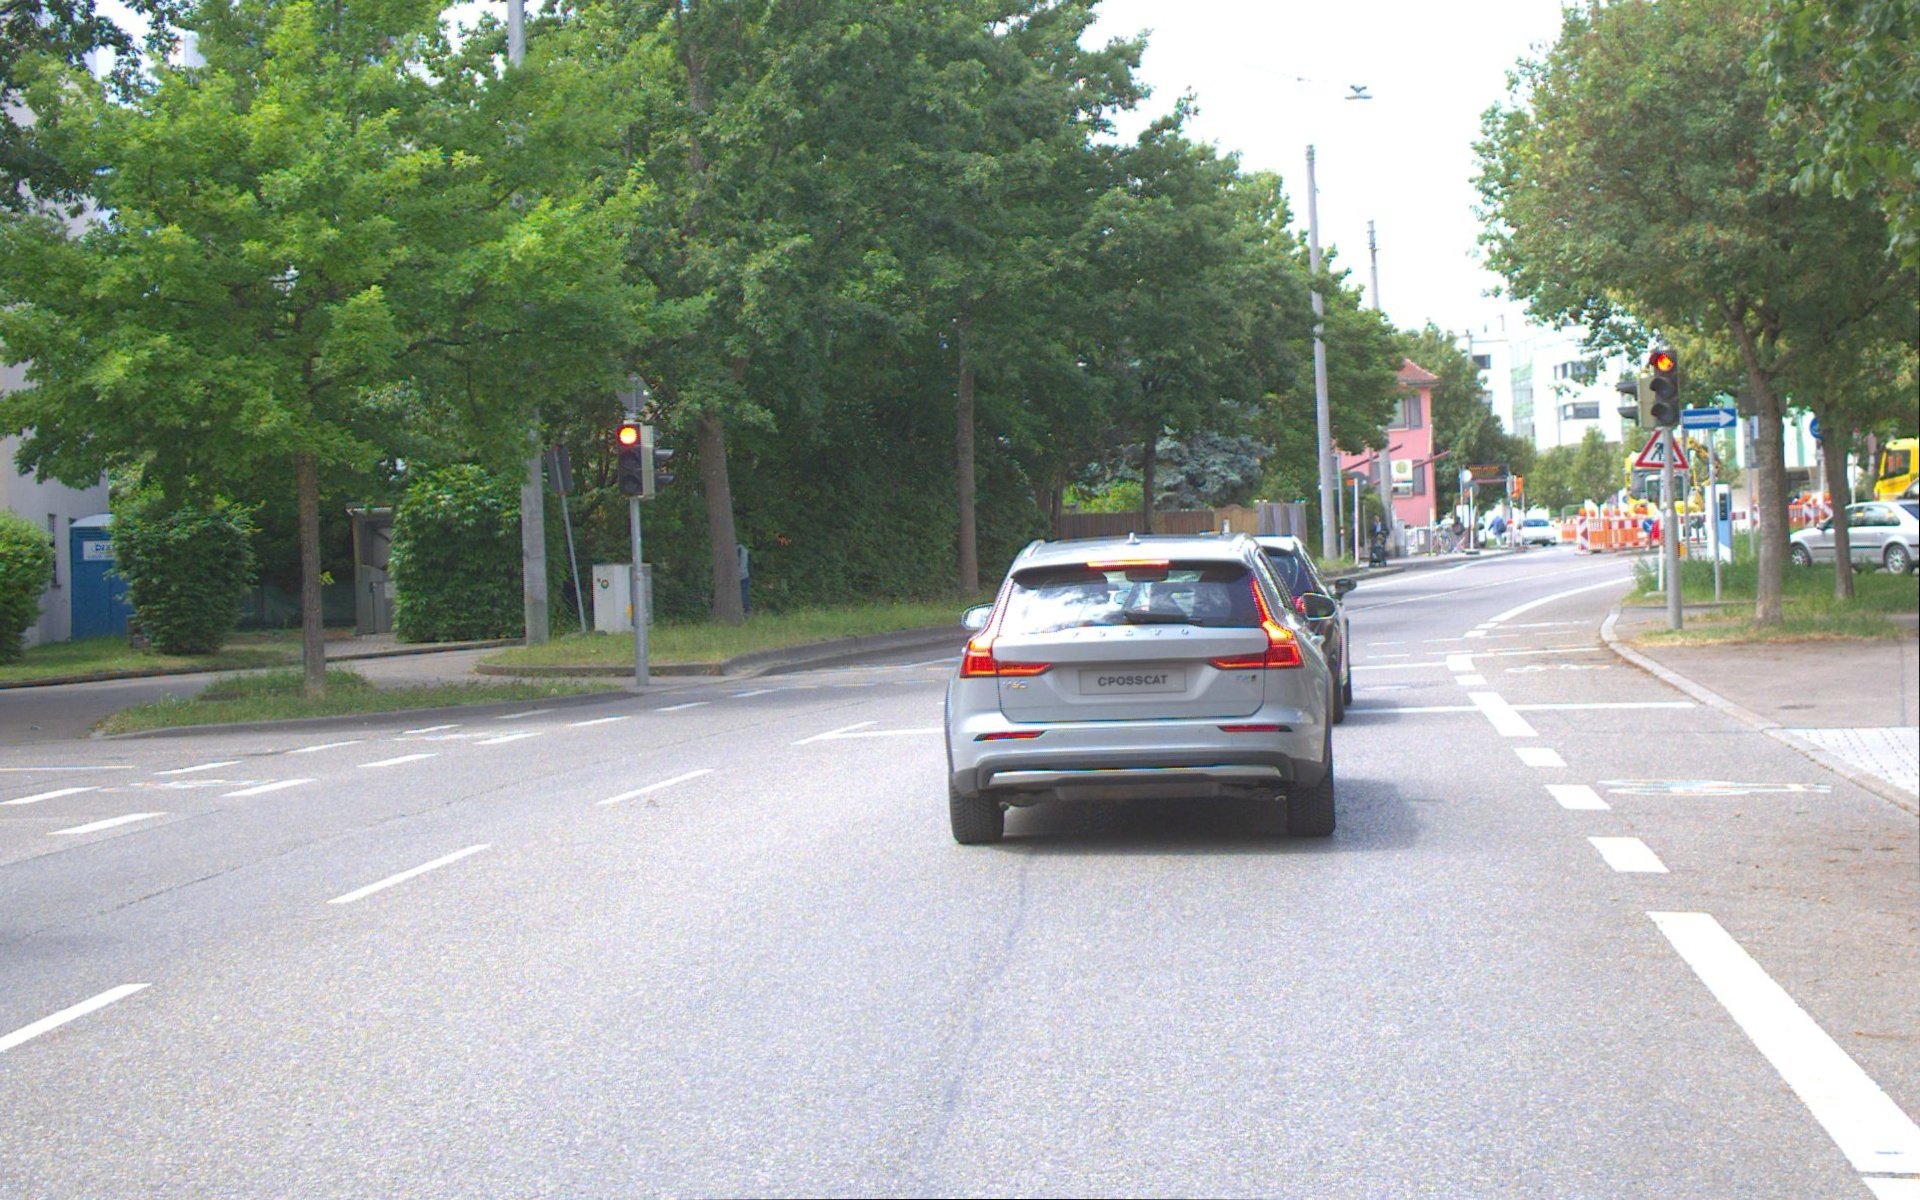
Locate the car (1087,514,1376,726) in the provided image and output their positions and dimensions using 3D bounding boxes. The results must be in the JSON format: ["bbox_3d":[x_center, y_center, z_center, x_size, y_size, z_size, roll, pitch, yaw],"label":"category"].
[{"bbox_3d":[2.244,0.097,27.349,1.805,1.518,4.327,1,1,11],"label":"car"}]

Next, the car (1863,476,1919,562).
[{"bbox_3d":[23.885,-1.960,83.438,3.755,2.007,1.742,-1,0,-35],"label":"car"}]

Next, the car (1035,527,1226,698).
[{"bbox_3d":[1.714,0.120,35.271,1.804,1.611,4.329,1,0,2],"label":"car"}]

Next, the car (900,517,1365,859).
[{"bbox_3d":[1.031,0.361,17.850,1.956,1.518,4.328,-2,1,9],"label":"car"}]

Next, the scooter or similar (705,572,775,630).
[{"bbox_3d":[-3.800,0.023,59.352,0.953,0.958,0.690,-2,0,-33],"label":"scooter or similar"}]

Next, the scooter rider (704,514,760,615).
[{"bbox_3d":[-3.930,-0.605,59.275,0.705,1.721,0.680,-1,0,-32],"label":"scooter rider"}]

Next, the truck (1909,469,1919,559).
[{"bbox_3d":[24.470,-2.002,78.389,5.596,2.007,2.089,-1,0,-30],"label":"truck"}]
